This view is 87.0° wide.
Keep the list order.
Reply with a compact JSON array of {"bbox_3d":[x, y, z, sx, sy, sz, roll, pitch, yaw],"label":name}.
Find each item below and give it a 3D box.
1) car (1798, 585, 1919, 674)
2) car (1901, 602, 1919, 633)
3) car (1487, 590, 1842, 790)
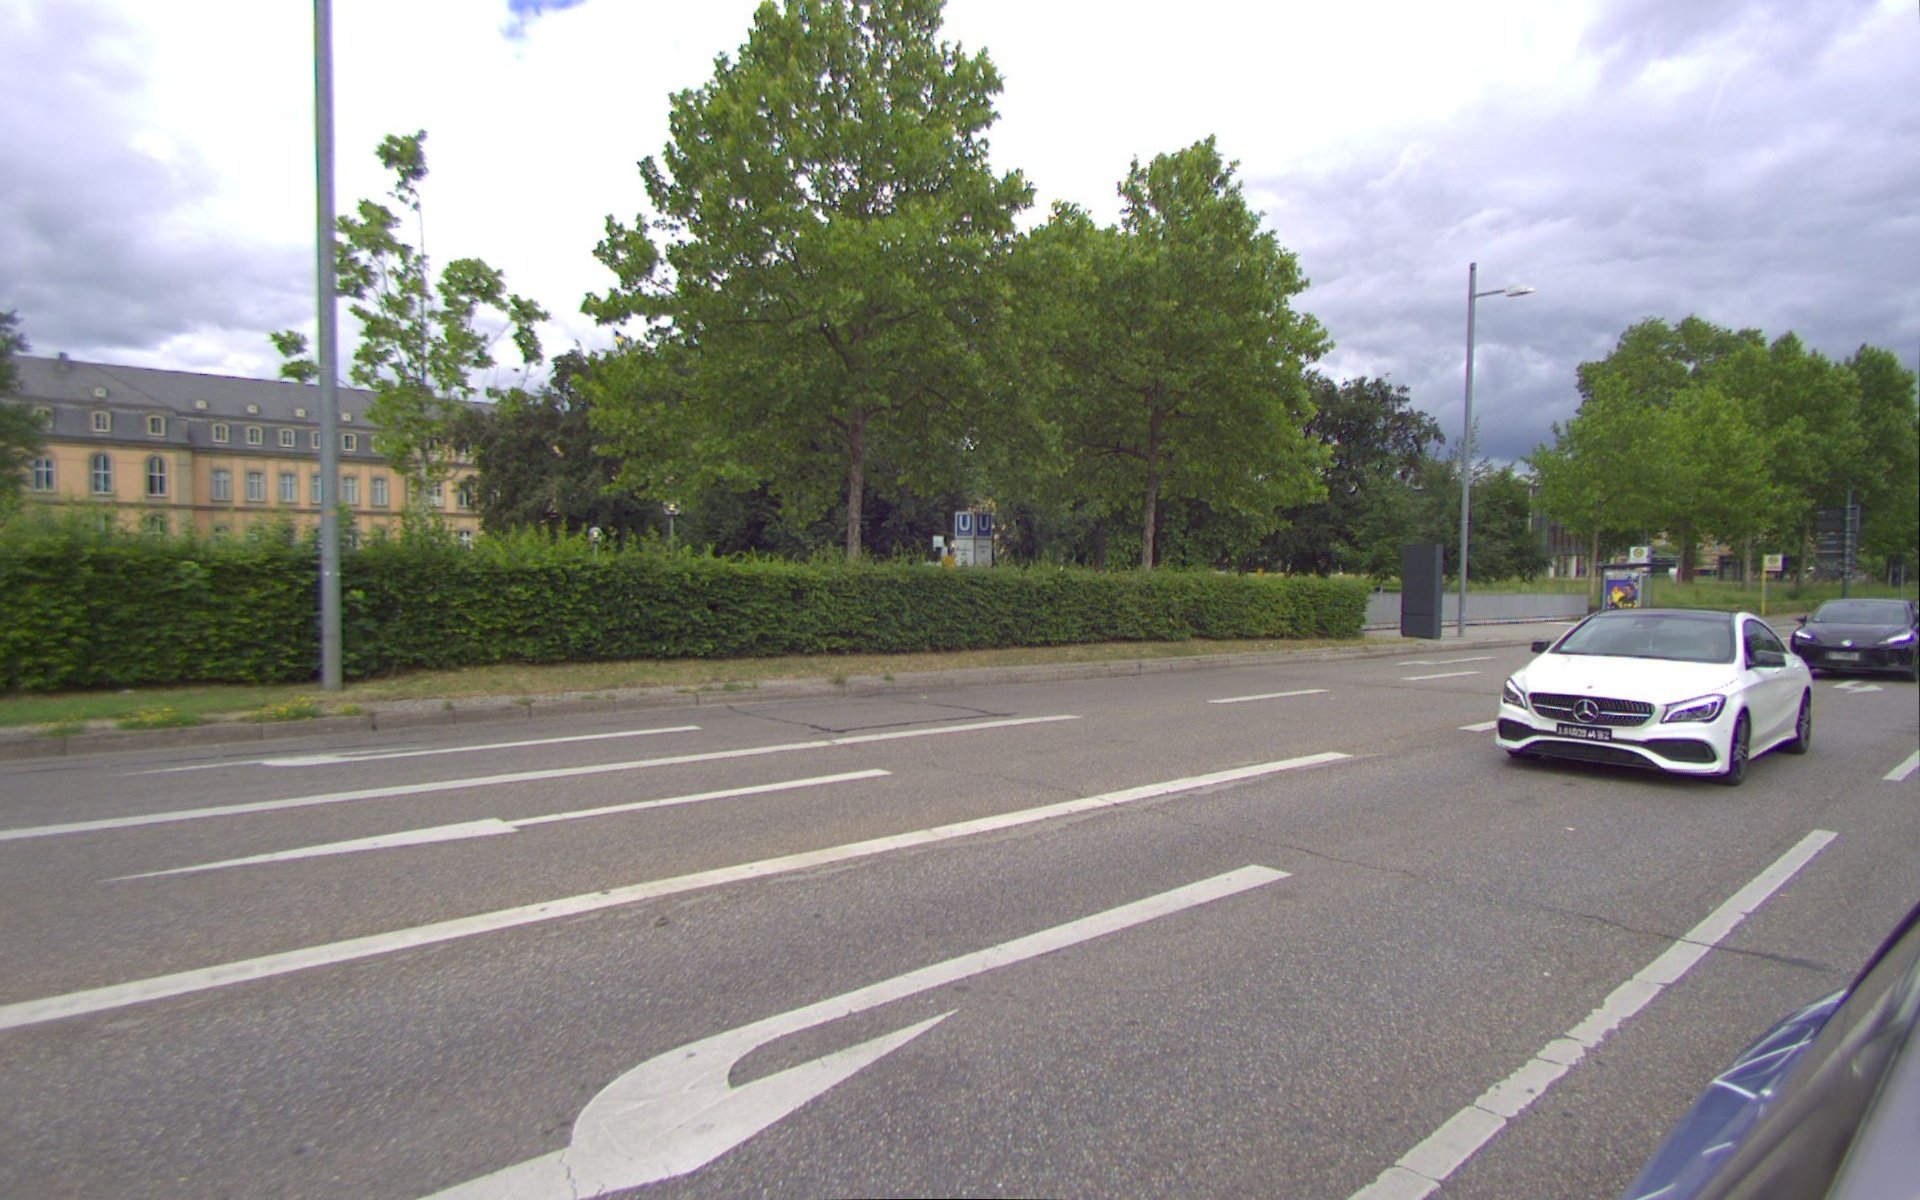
[{"bbox_3d":[17.832,0.509,19.580,4.047,1.543,1.828,0,1,-41],"label":"car"},{"bbox_3d":[48.504,0.872,50.490,3.929,1.438,1.867,-1,1,-40],"label":"car"},{"bbox_3d":[6.848,0.648,9.640,4.427,1.441,1.722,-1,2,-41],"label":"car"}]
